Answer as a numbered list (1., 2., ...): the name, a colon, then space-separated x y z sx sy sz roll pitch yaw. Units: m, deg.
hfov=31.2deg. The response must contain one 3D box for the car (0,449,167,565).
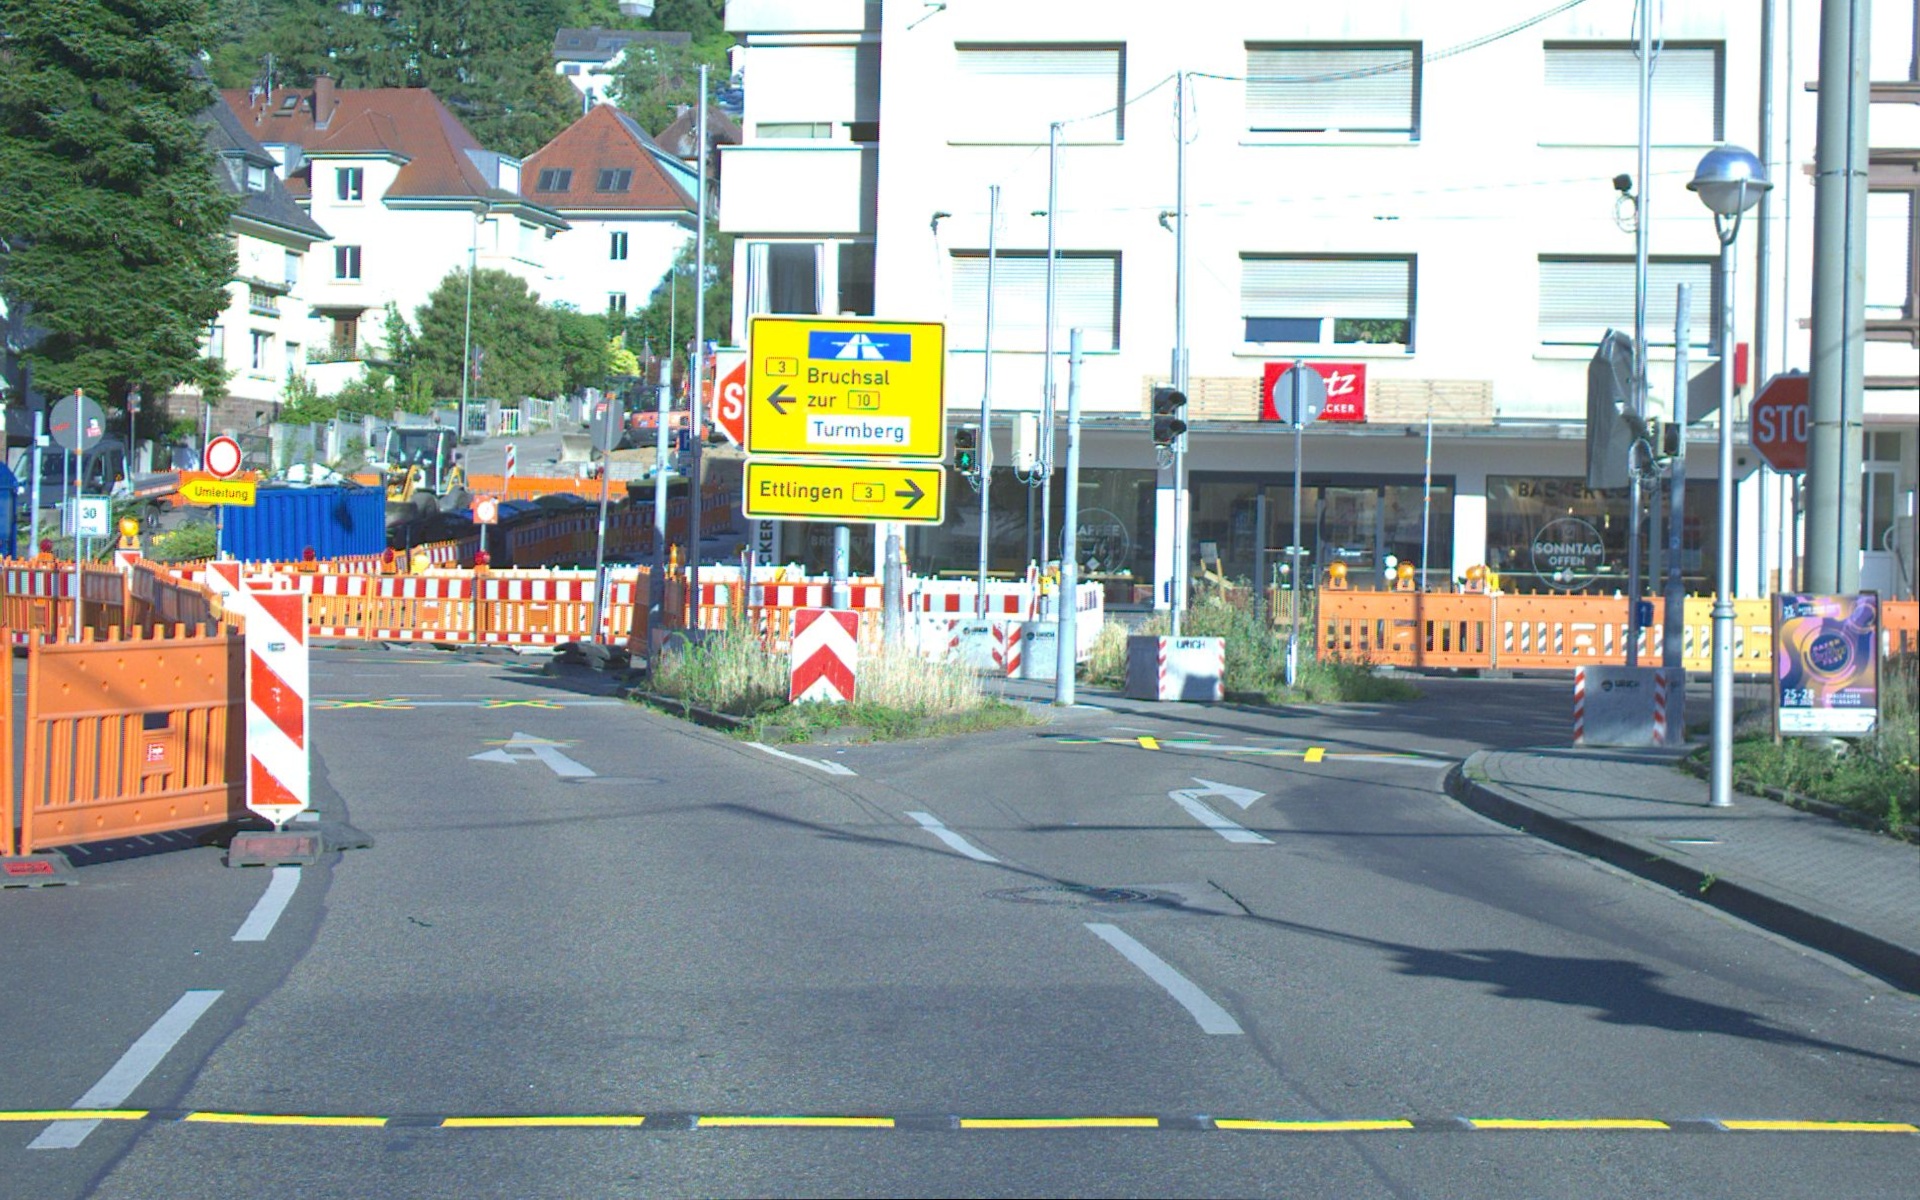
1. car: -18.018 -1.750 66.145 2.585 2.113 6.145 1 1 18

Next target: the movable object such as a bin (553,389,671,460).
1. movable object such as a bin: -11.589 -5.834 114.848 2.566 2.114 5.782 1 1 8

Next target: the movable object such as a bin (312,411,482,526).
1. movable object such as a bin: -12.887 -2.985 78.954 1.950 2.486 4.547 1 1 18
